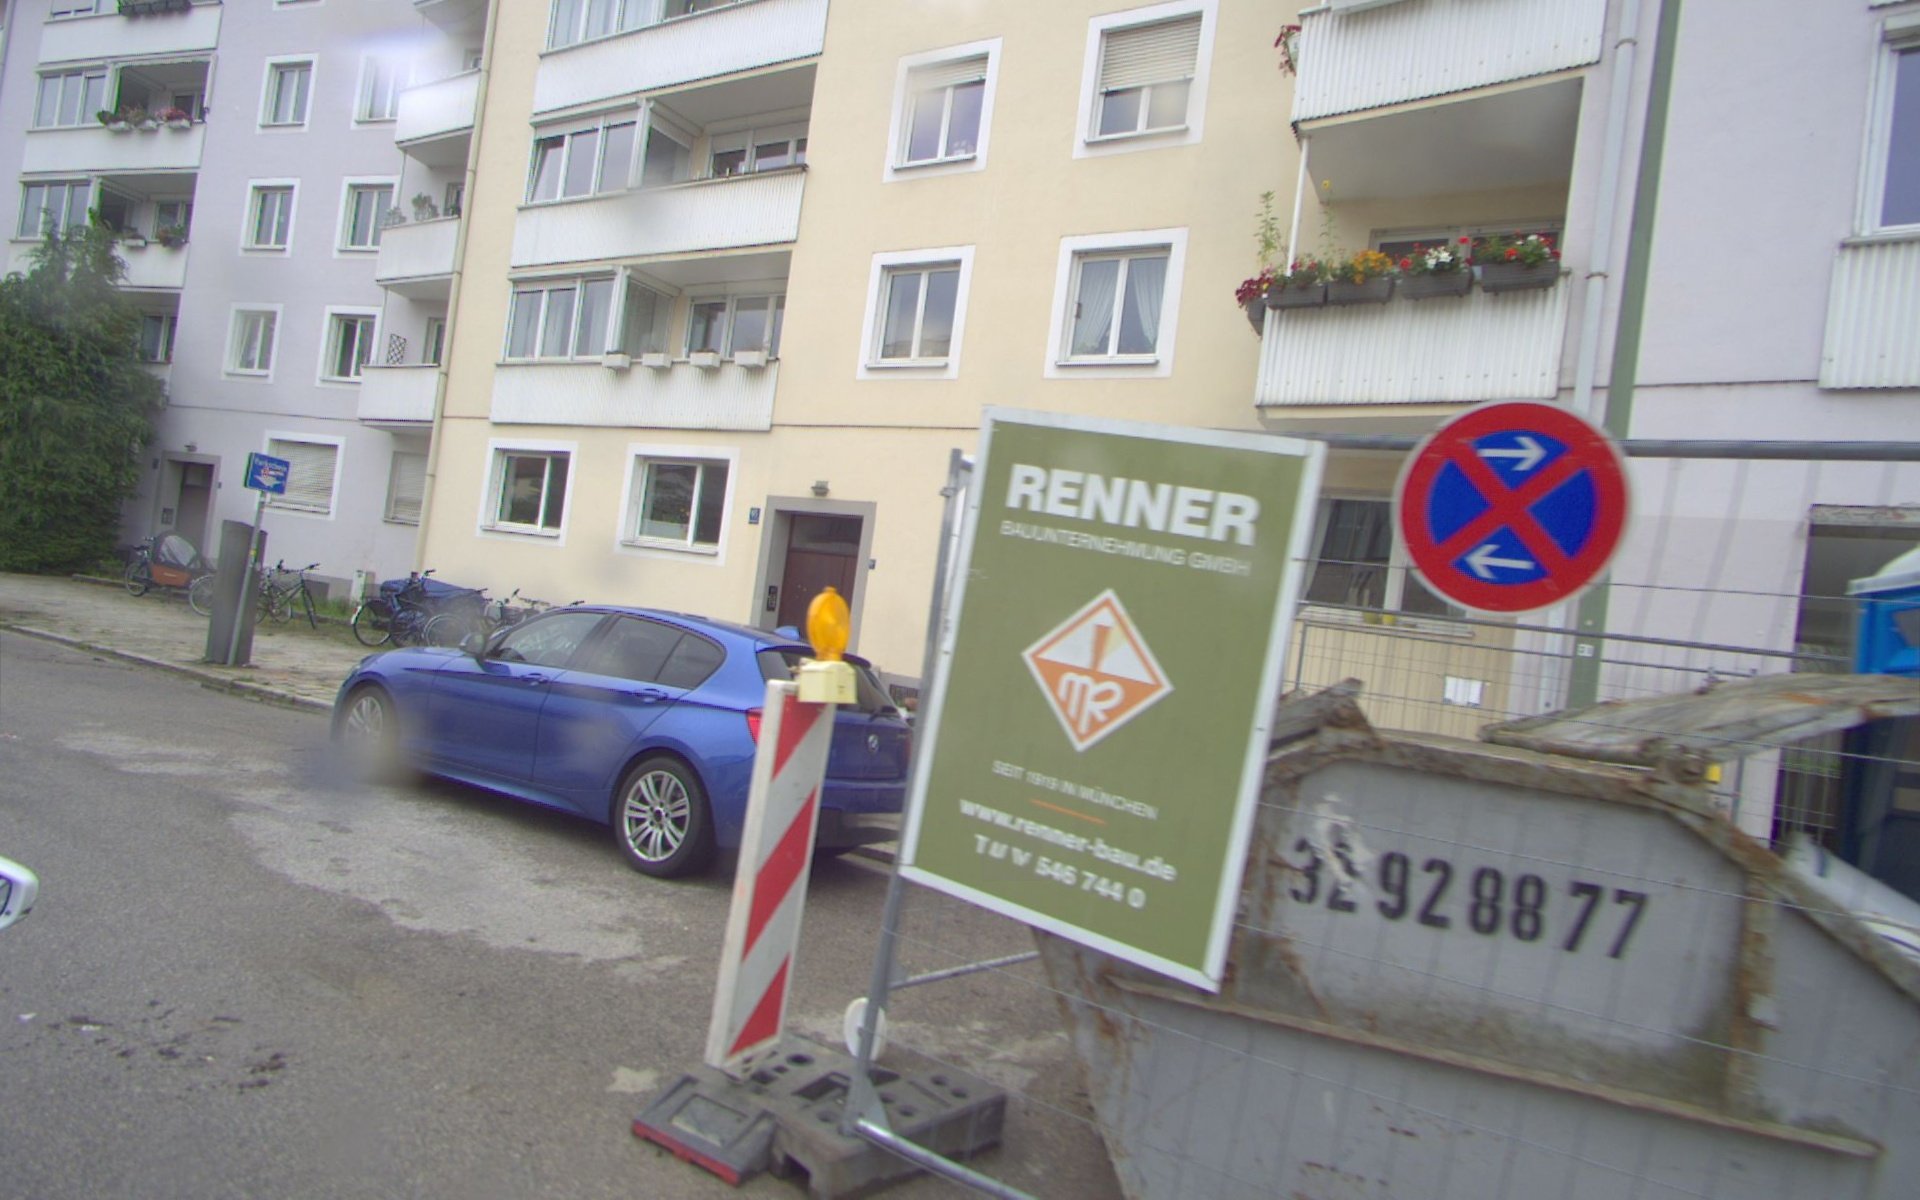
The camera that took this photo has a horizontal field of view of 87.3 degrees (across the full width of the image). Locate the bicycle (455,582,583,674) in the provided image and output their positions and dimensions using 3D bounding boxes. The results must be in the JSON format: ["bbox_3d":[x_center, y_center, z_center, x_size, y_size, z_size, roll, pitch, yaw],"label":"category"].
[{"bbox_3d":[-6.528,0.446,14.989,0.425,1.236,1.703,8,0,30],"label":"bicycle"}]

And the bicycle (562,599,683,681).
[{"bbox_3d":[-4.725,0.591,14.192,0.362,1.048,1.703,8,0,30],"label":"bicycle"}]

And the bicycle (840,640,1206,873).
[{"bbox_3d":[0.464,1.165,8.127,2.726,1.339,0.811,7,0,26],"label":"bicycle"}]

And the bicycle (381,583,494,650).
[{"bbox_3d":[-8.516,0.294,16.478,0.424,0.954,1.705,8,-1,21],"label":"bicycle"}]

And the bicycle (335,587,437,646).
[{"bbox_3d":[-9.315,0.264,16.379,0.436,0.869,1.472,7,2,18],"label":"bicycle"}]

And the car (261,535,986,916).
[{"bbox_3d":[-2.337,0.645,6.727,4.548,1.457,1.837,8,-3,28],"label":"car"}]

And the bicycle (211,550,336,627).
[{"bbox_3d":[-11.671,-0.171,17.177,0.567,1.173,1.833,7,1,10],"label":"bicycle"}]

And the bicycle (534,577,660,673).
[{"bbox_3d":[-5.182,0.385,14.471,0.425,1.236,1.703,8,0,30],"label":"bicycle"}]

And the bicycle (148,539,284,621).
[{"bbox_3d":[-12.917,-0.345,17.498,1.799,1.173,0.577,7,1,-3],"label":"bicycle"}]

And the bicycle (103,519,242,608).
[{"bbox_3d":[-14.988,-0.687,19.149,2.424,1.385,0.744,7,2,16],"label":"bicycle"}]

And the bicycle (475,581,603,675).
[{"bbox_3d":[-6.126,0.443,14.748,0.425,1.236,1.703,8,0,30],"label":"bicycle"}]

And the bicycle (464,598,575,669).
[{"bbox_3d":[-6.809,0.536,15.612,0.472,1.003,1.502,8,1,31],"label":"bicycle"}]

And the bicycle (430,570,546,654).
[{"bbox_3d":[-7.742,0.229,16.576,0.425,1.236,1.704,8,0,27],"label":"bicycle"}]
